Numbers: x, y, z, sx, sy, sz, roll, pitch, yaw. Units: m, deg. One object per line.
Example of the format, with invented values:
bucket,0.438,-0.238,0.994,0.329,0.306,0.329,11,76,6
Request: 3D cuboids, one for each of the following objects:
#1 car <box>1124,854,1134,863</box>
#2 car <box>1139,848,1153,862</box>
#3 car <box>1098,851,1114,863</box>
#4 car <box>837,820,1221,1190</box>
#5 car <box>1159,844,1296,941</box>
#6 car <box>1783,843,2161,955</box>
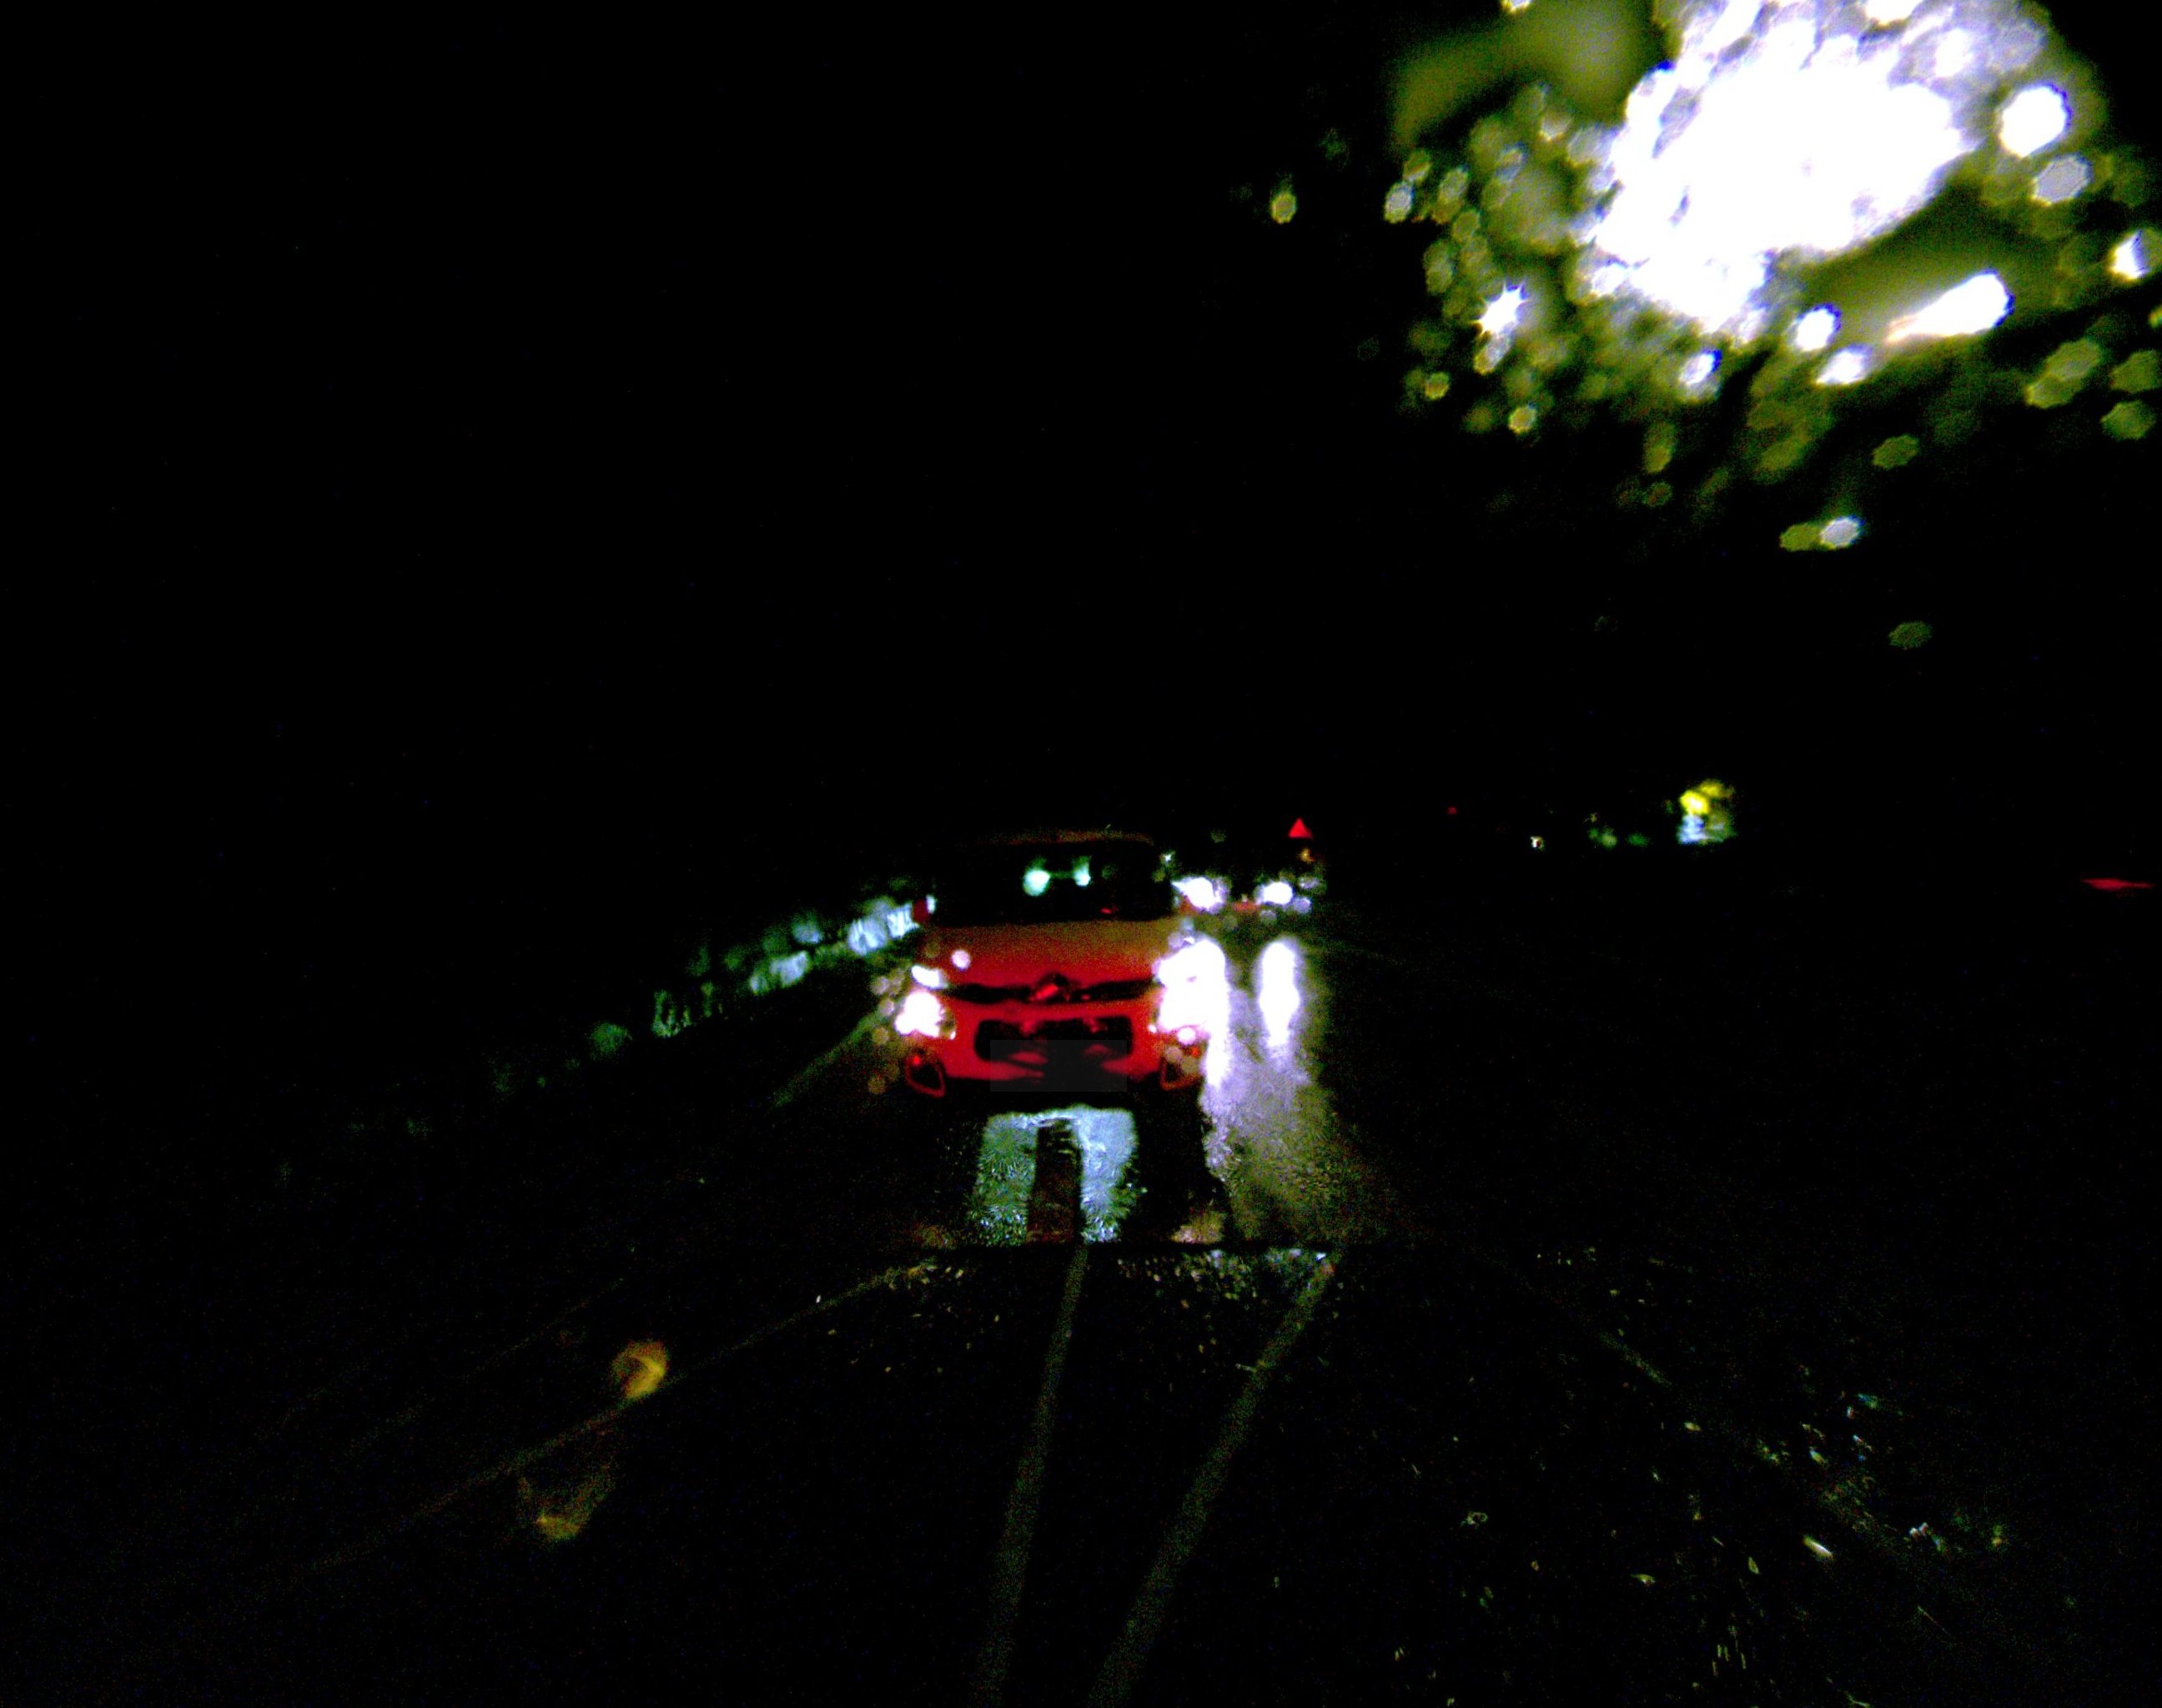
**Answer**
car,10.548,0.967,165.764,1.998,2.002,4.002,-1,0,6
car,10.052,0.185,116.841,1.997,2.002,4.001,-1,1,7
car,3.393,0.320,101.621,1.998,1.456,4.000,-1,1,4
car,-0.137,0.755,5.885,1.877,1.825,4.206,-1,0,4
car,2.867,0.690,16.017,1.914,1.694,4.938,-1,0,0
car,14.602,0.601,12.430,1.660,1.490,4.369,1,0,-13
